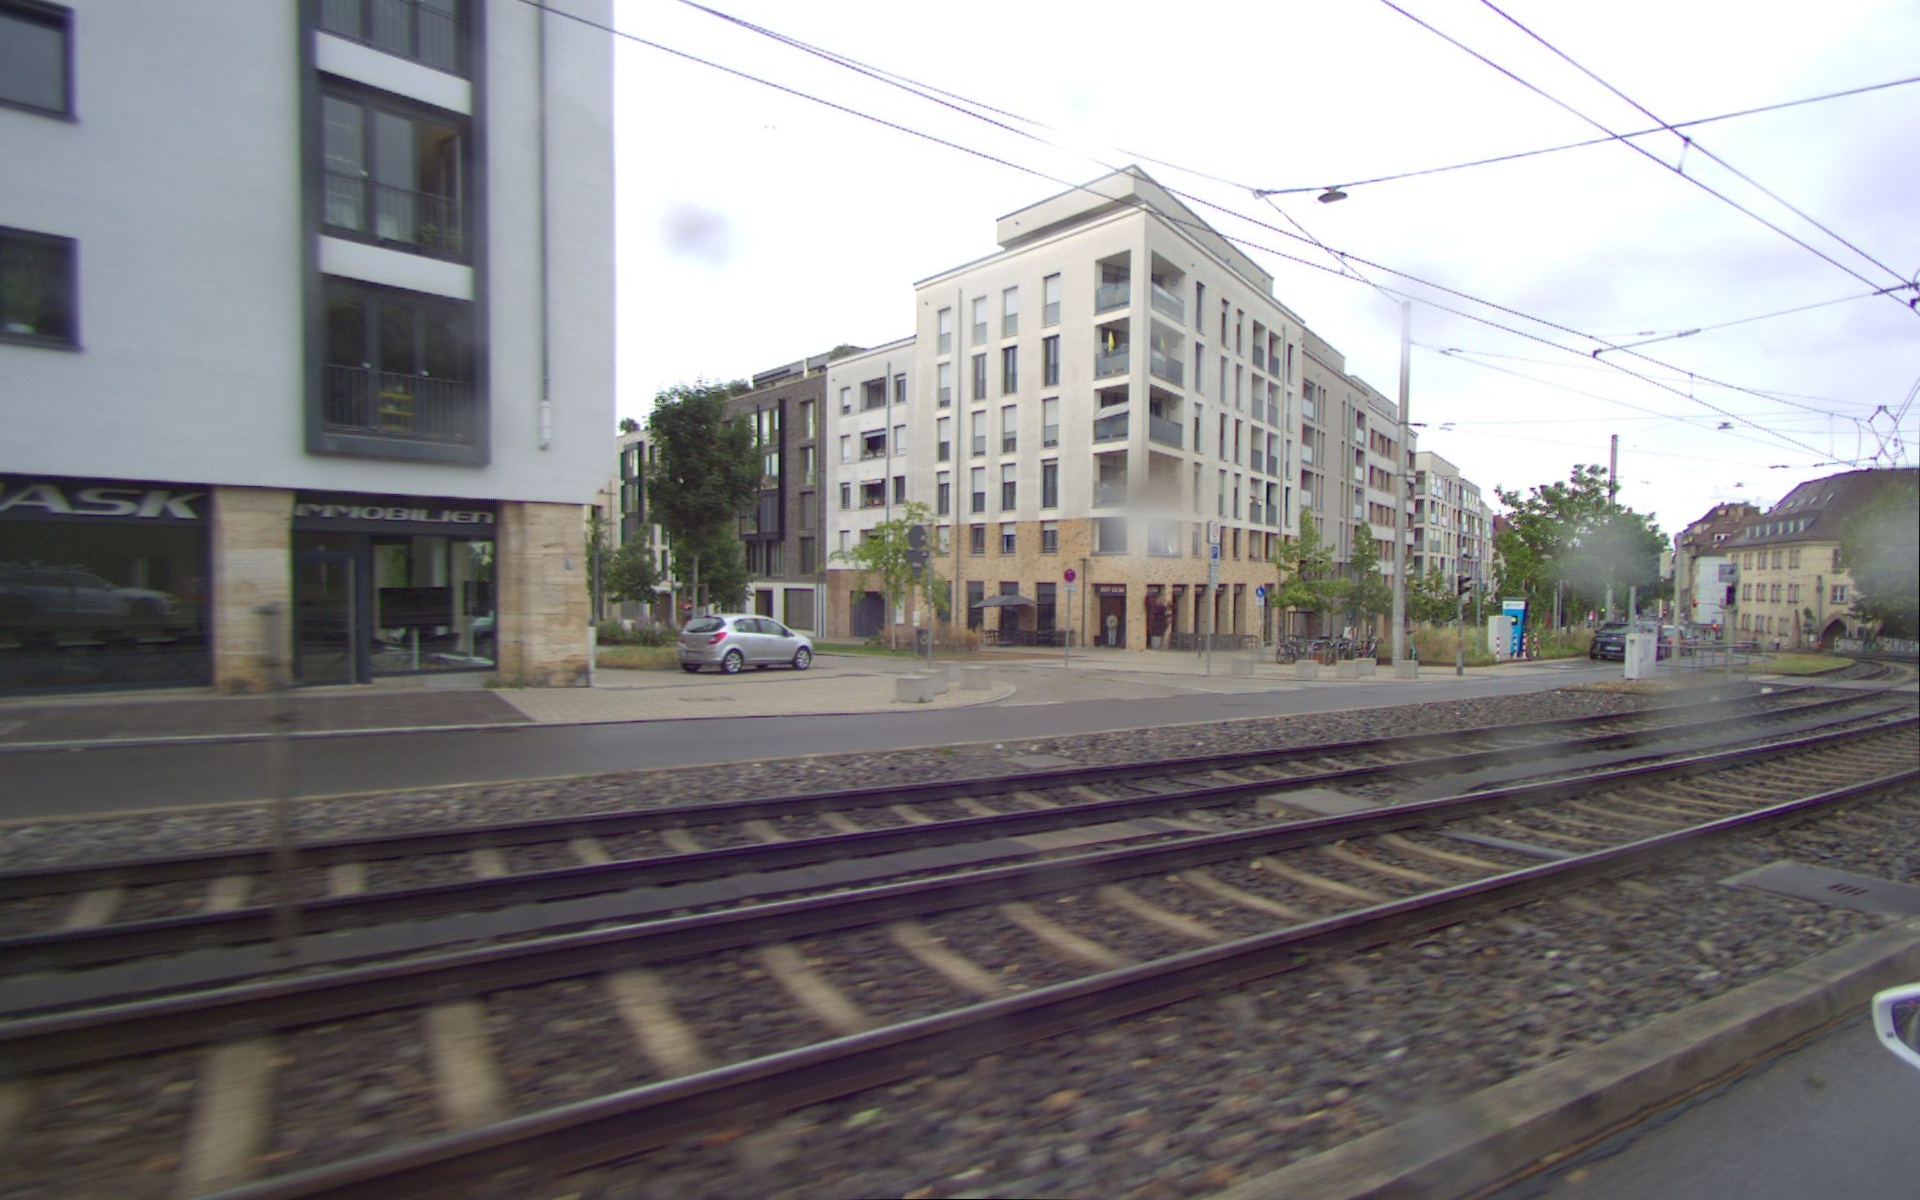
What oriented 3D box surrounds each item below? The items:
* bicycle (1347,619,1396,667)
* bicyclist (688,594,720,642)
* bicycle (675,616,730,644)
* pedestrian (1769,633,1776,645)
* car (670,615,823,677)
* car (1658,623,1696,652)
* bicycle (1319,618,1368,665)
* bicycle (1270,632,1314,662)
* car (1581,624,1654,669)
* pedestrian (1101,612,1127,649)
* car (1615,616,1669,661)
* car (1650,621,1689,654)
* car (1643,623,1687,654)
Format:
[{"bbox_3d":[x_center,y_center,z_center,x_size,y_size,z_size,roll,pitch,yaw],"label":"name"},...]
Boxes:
[{"bbox_3d":[14.486,1.501,35.331,2.344,1.617,0.669,2,-1,-44],"label":"bicycle"},{"bbox_3d":[-9.834,0.687,38.598,0.773,1.828,0.901,1,0,21],"label":"bicyclist"},{"bbox_3d":[-9.886,1.132,38.606,1.973,1.042,0.735,1,0,22],"label":"bicycle"},{"bbox_3d":[93.003,4.490,114.927,0.496,1.333,0.511,1,-1,24],"label":"pedestrian"},{"bbox_3d":[-5.454,1.158,26.128,1.574,1.439,3.906,1,-1,34],"label":"car"},{"bbox_3d":[44.186,2.320,61.855,1.710,1.666,4.514,2,-1,37],"label":"car"},{"bbox_3d":[13.799,1.493,36.076,2.344,1.617,0.669,2,-1,-44],"label":"bicycle"},{"bbox_3d":[12.429,1.744,37.547,2.212,1.061,0.471,1,-1,-40],"label":"bicycle"},{"bbox_3d":[27.705,1.939,42.246,1.970,1.626,4.195,5,1,41],"label":"car"},{"bbox_3d":[7.088,1.400,46.276,0.891,1.673,0.837,1,-2,-23],"label":"pedestrian"},{"bbox_3d":[31.431,1.764,46.233,1.562,1.884,4.313,3,0,40],"label":"car"},{"bbox_3d":[40.606,2.144,57.478,1.642,1.771,4.241,1,-1,37],"label":"car"},{"bbox_3d":[37.671,2.047,53.667,1.454,1.551,2.913,3,1,44],"label":"car"}]
